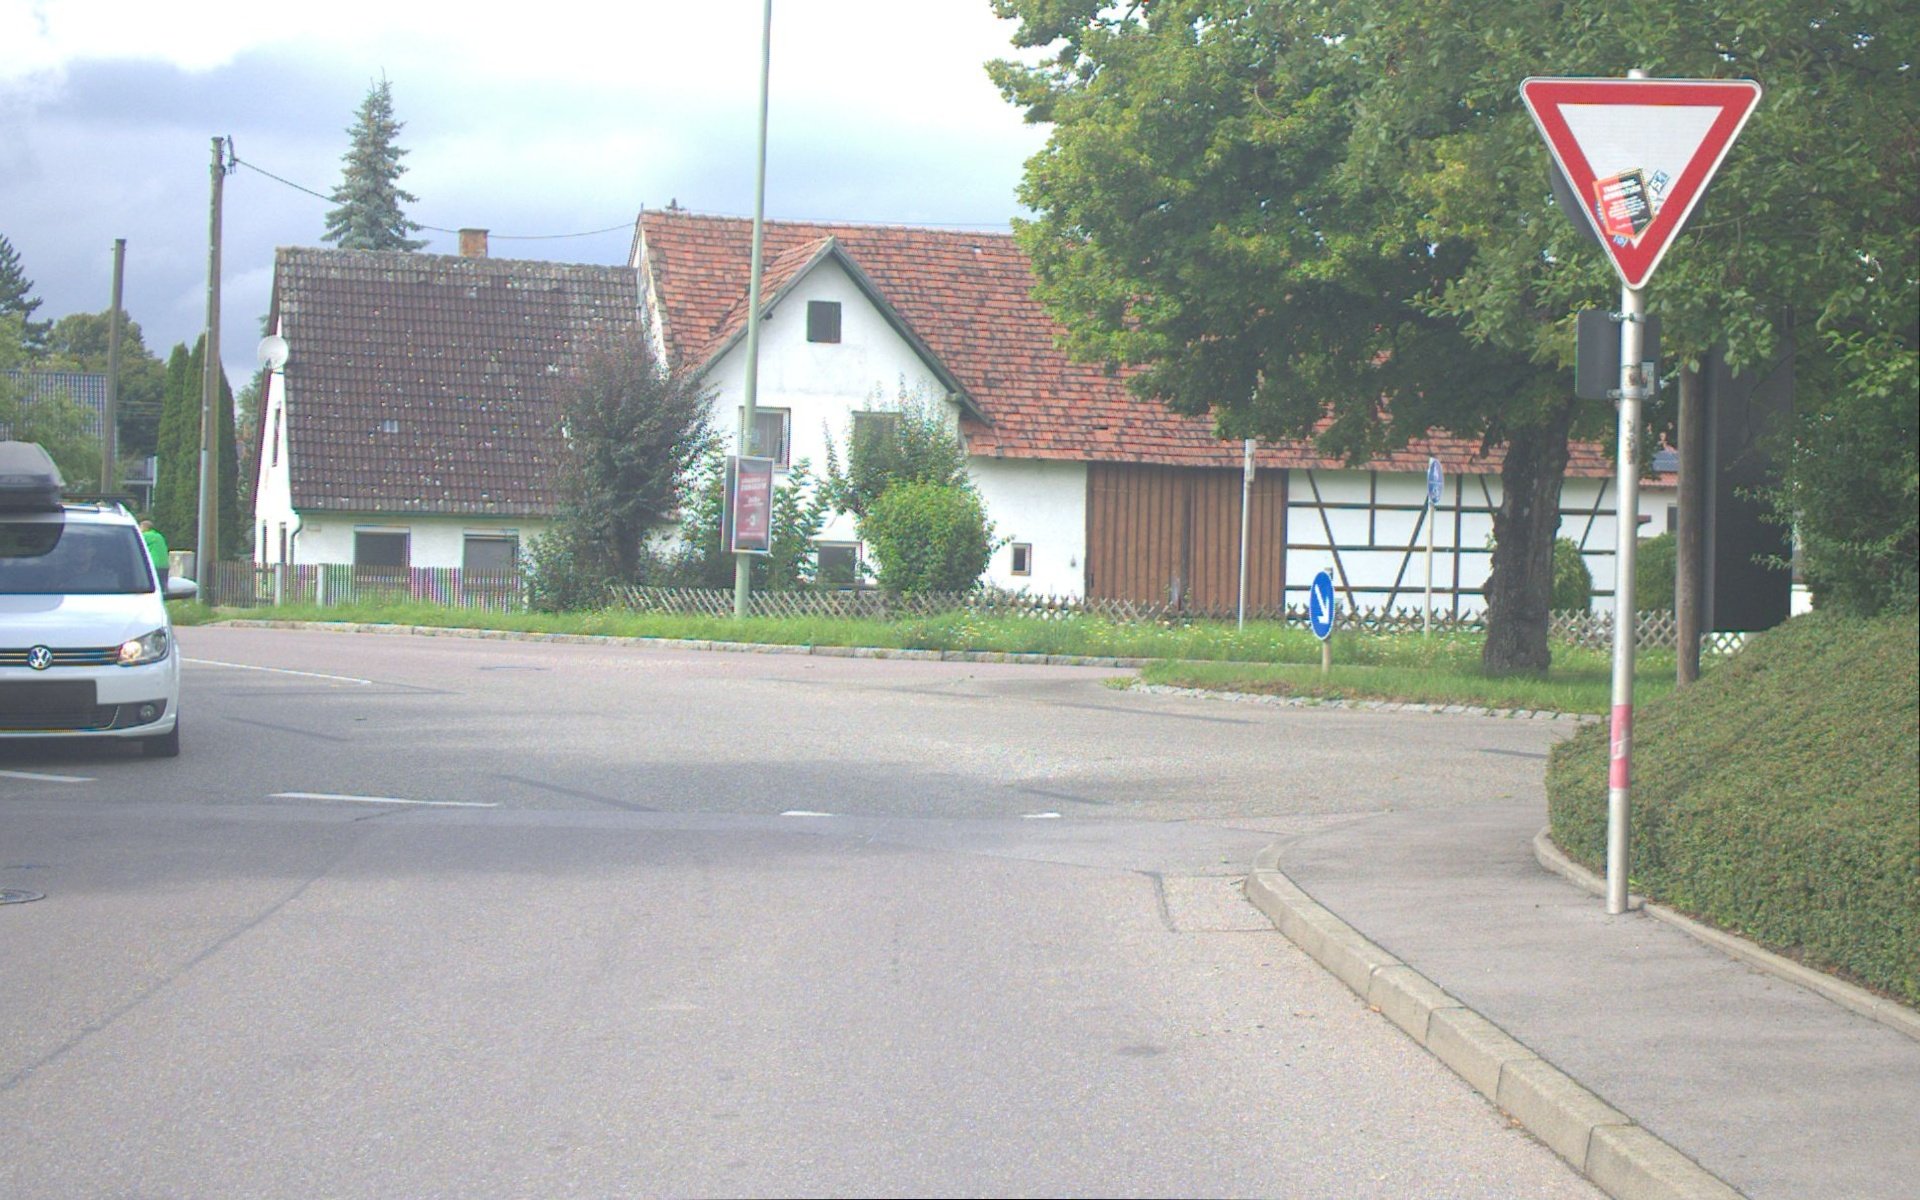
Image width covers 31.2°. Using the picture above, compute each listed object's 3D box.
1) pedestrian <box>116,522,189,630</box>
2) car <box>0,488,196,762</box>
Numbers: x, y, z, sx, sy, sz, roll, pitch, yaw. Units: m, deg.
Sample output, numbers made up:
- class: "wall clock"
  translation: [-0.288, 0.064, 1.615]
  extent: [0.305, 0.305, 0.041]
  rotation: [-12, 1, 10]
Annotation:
- class: "pedestrian"
  translation: [-13.045, -0.395, 55.536]
  extent: [0.788, 1.659, 0.712]
  rotation: [6, -2, -34]
- class: "car"
  translation: [-5.985, 0.114, 22.843]
  extent: [1.698, 1.659, 4.033]
  rotation: [0, 1, -11]
